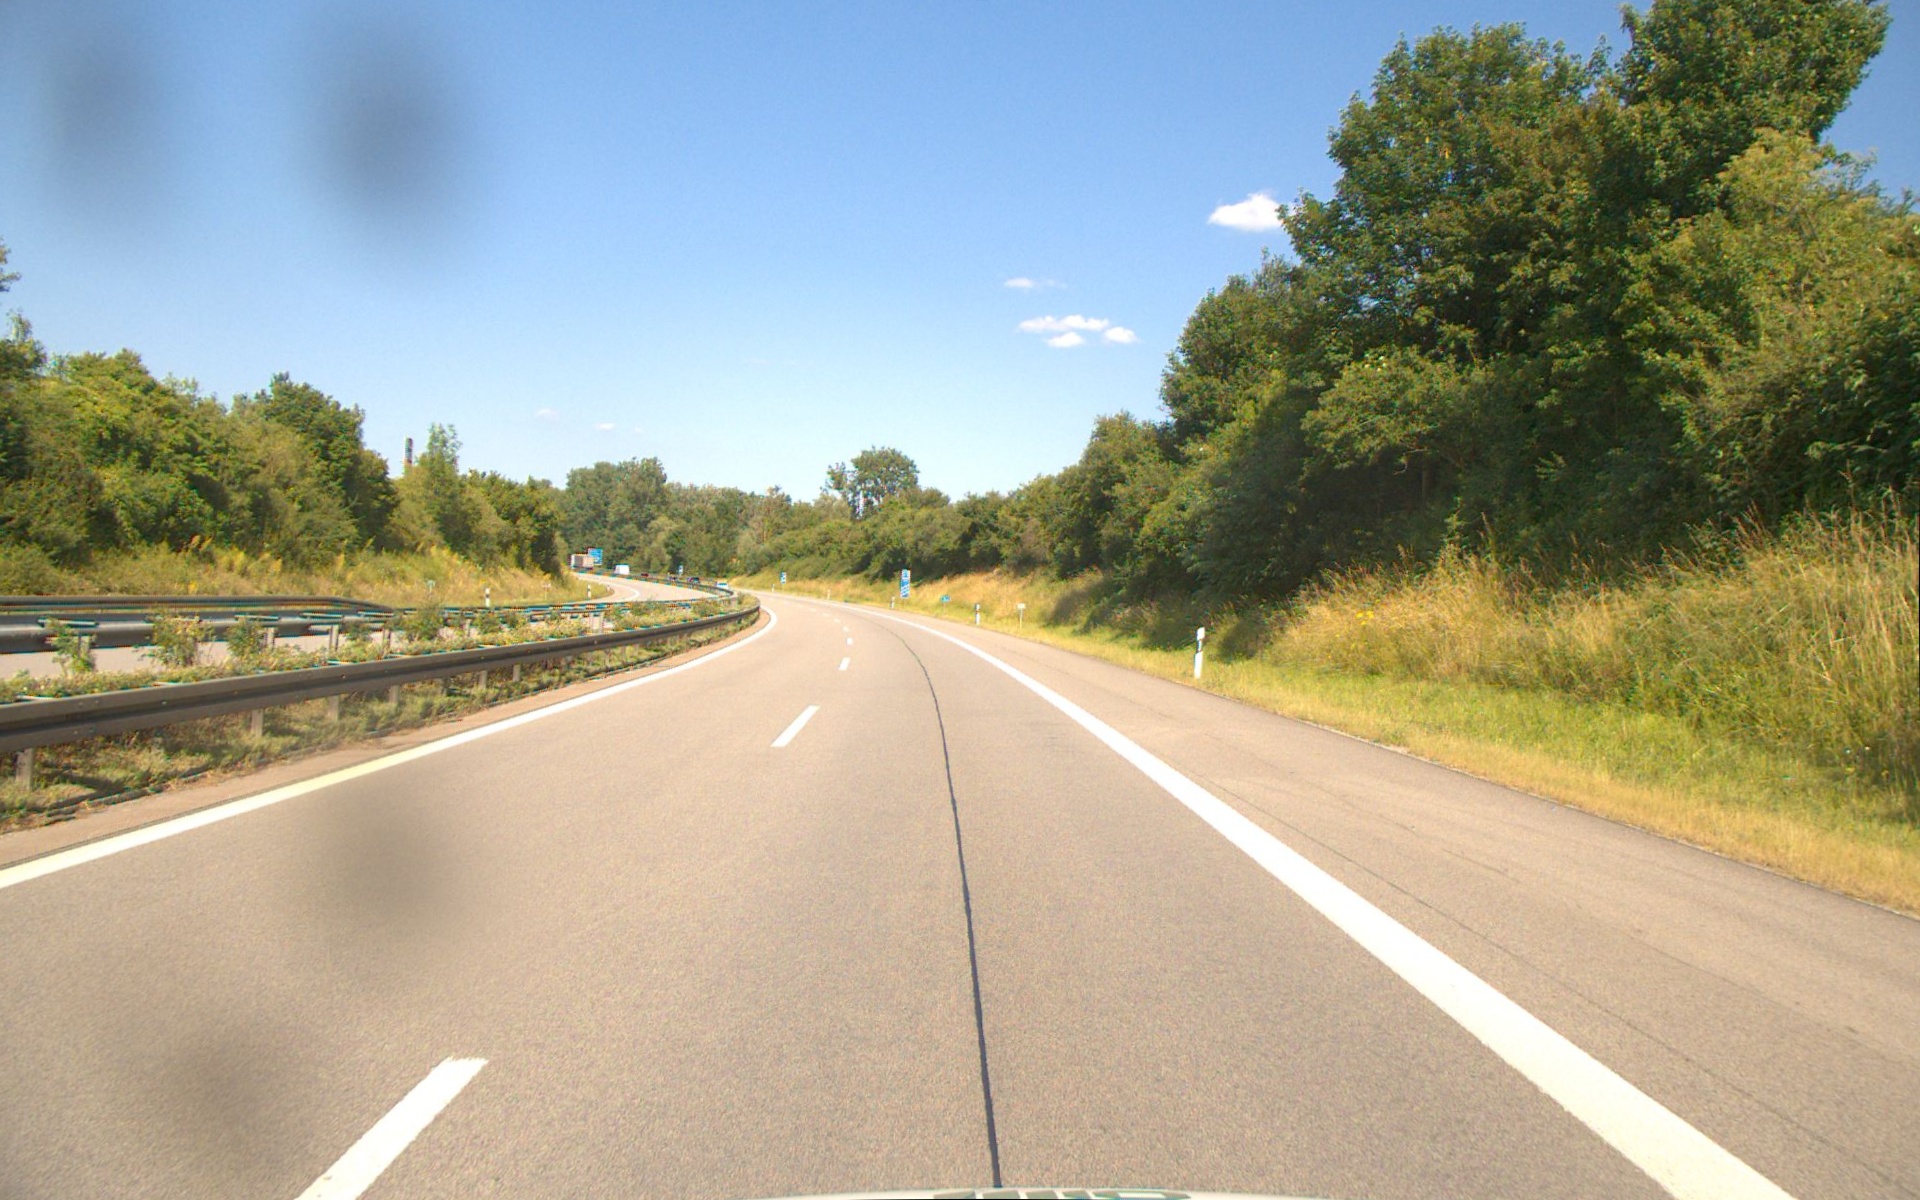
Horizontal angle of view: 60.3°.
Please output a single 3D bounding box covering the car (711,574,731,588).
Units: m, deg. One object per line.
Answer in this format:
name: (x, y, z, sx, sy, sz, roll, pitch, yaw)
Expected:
car: (-31.135, -2.428, 215.652, 2.028, 1.653, 3.982, 2, -1, -16)
